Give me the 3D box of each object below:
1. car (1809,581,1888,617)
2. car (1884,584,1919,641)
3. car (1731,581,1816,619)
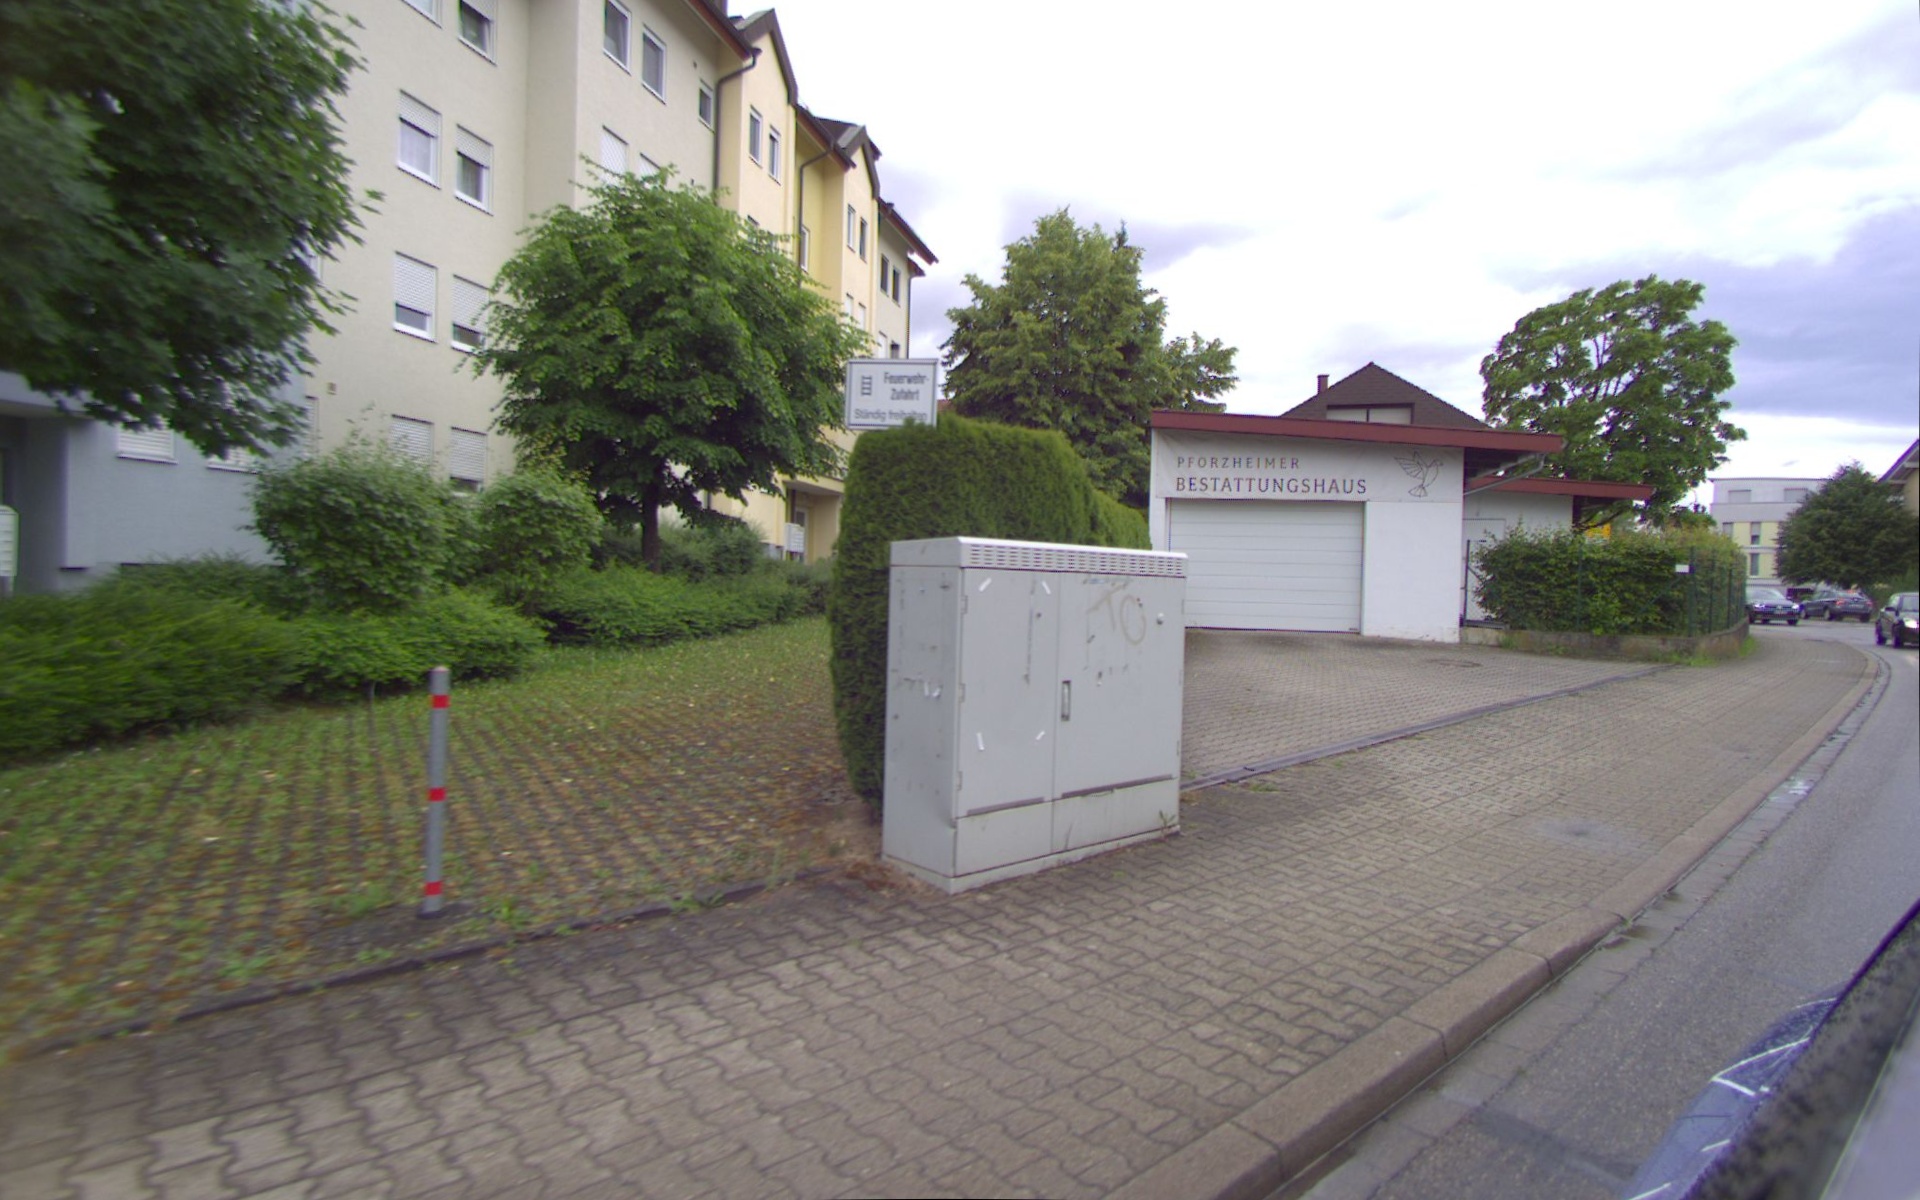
[{"bbox_3d":[46.597,-0.076,53.161,1.863,1.716,3.970,2,2,22],"label":"car"},{"bbox_3d":[26.684,0.314,27.522,1.831,1.467,3.949,1,2,36],"label":"car"},{"bbox_3d":[36.526,-0.039,45.545,1.820,1.569,3.973,1,1,21],"label":"car"}]
